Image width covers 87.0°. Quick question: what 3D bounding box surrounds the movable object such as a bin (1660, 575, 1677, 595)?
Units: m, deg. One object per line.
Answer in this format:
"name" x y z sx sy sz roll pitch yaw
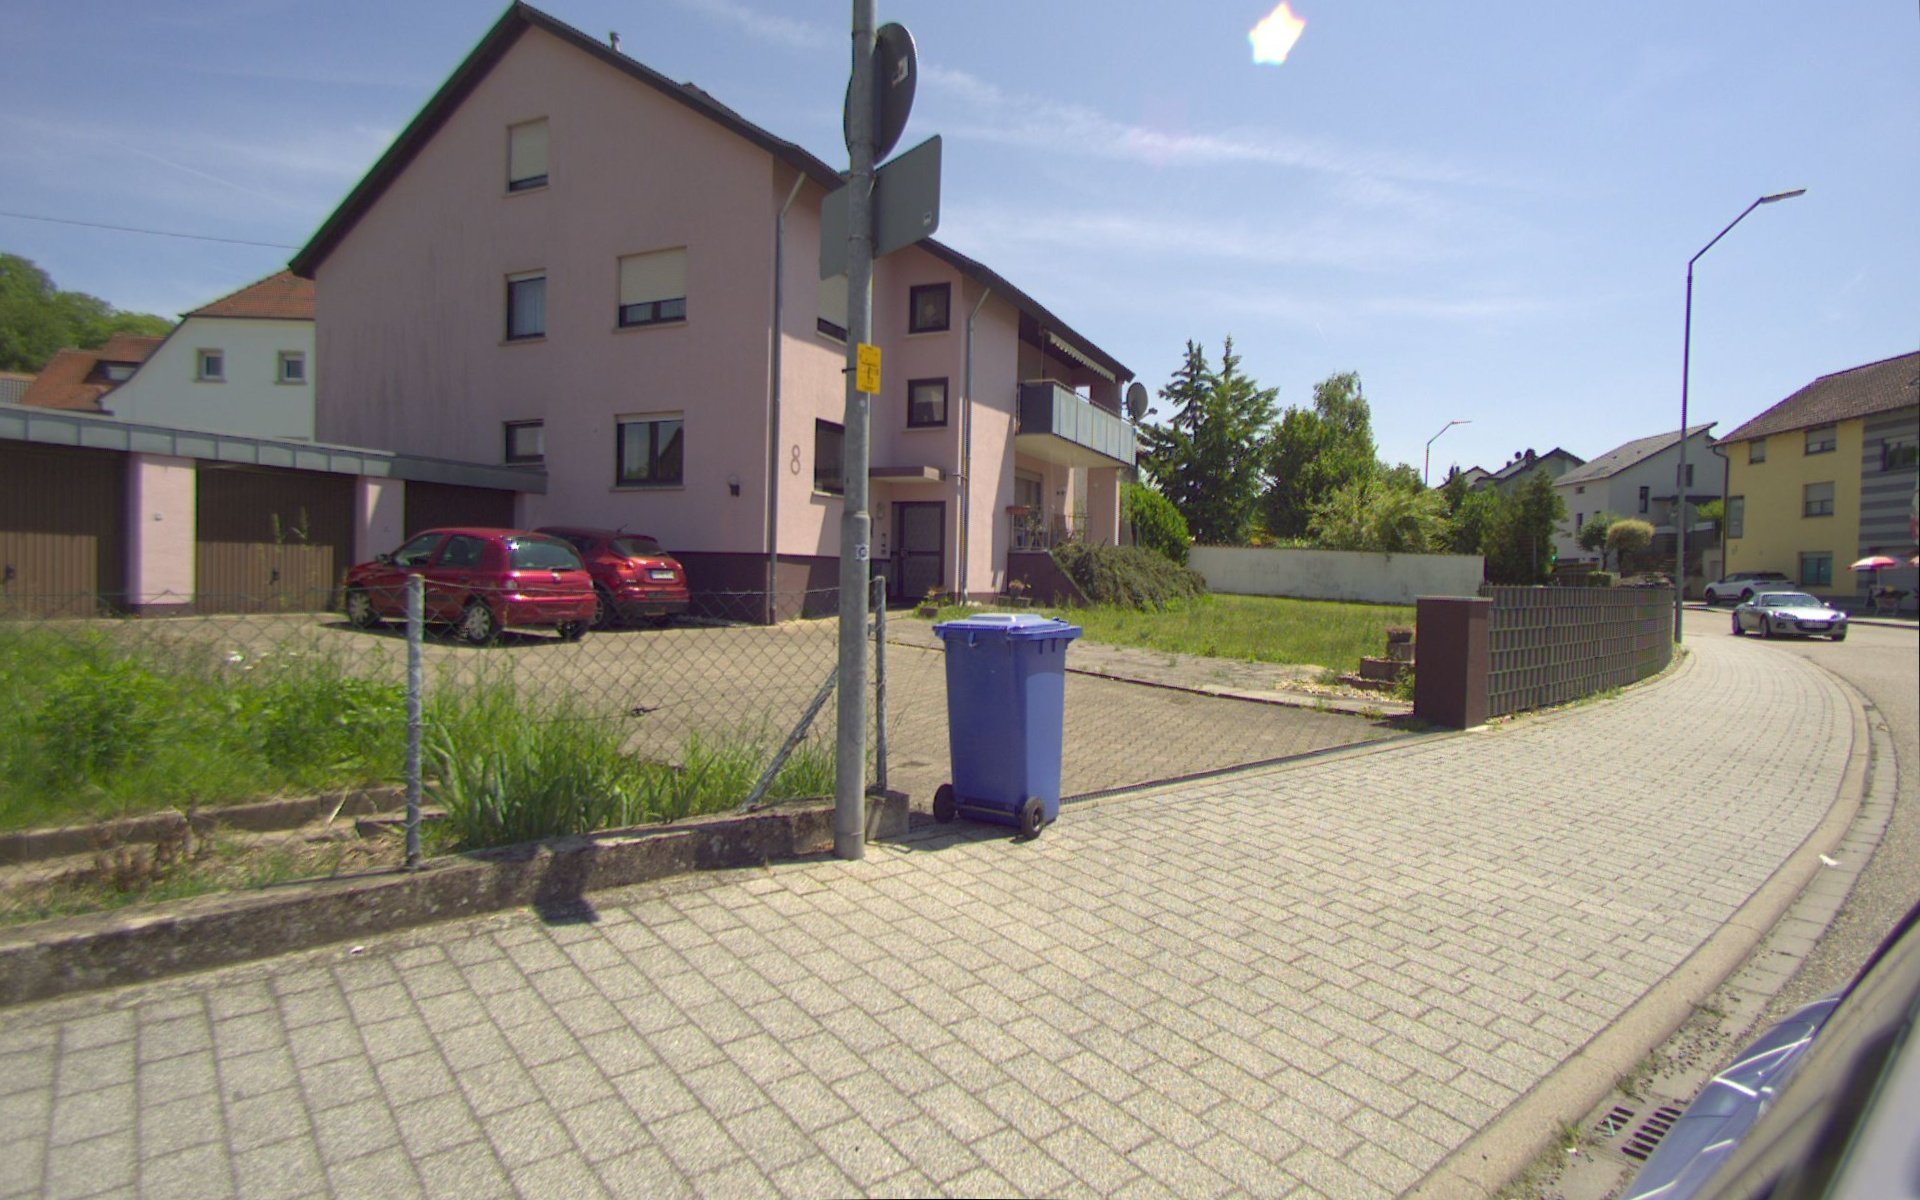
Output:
"movable object such as a bin" 37.635 -0.807 53.753 0.464 1.068 0.633 0 2 5

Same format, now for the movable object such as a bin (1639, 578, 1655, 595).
"movable object such as a bin" 36.597 -0.723 53.902 0.440 0.940 0.561 0 2 5

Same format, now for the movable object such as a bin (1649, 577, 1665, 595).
"movable object such as a bin" 37.103 -0.734 53.880 0.440 0.949 0.530 0 2 5

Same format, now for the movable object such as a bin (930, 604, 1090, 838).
"movable object such as a bin" 0.264 0.577 5.223 0.563 1.070 0.643 2 2 34

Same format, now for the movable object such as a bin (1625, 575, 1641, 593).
"movable object such as a bin" 35.909 -0.858 53.998 0.493 0.960 0.553 0 2 5

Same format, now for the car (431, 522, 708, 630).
"car" -6.295 -0.409 16.325 4.079 1.567 1.837 1 2 23

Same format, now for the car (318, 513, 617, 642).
"car" -6.710 -0.365 13.747 3.801 1.504 1.745 3 3 27

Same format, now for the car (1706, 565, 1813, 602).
"car" 35.381 -0.760 44.918 1.706 1.571 4.183 0 2 6

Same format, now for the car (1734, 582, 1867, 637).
"car" 22.673 0.200 27.469 1.796 1.330 3.966 1 2 25
